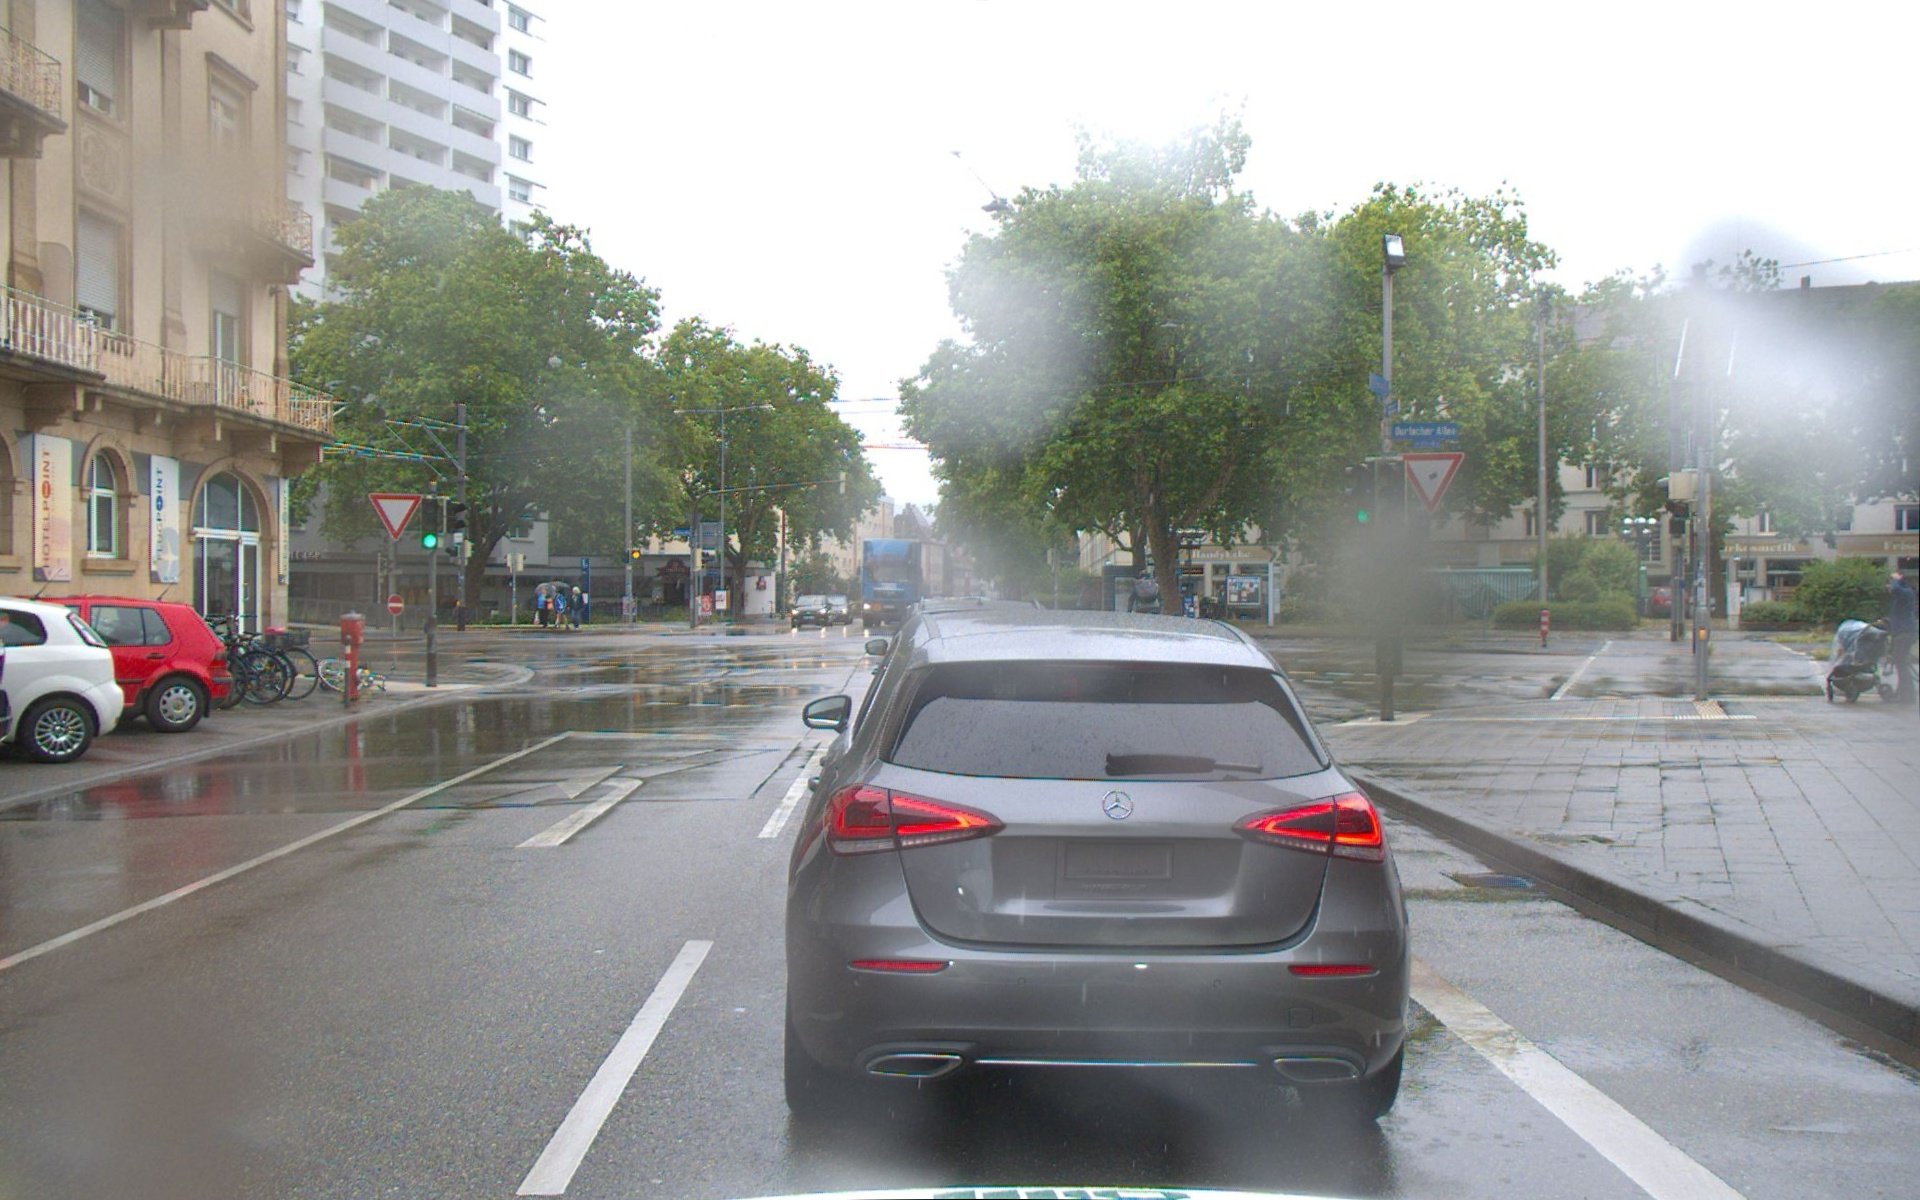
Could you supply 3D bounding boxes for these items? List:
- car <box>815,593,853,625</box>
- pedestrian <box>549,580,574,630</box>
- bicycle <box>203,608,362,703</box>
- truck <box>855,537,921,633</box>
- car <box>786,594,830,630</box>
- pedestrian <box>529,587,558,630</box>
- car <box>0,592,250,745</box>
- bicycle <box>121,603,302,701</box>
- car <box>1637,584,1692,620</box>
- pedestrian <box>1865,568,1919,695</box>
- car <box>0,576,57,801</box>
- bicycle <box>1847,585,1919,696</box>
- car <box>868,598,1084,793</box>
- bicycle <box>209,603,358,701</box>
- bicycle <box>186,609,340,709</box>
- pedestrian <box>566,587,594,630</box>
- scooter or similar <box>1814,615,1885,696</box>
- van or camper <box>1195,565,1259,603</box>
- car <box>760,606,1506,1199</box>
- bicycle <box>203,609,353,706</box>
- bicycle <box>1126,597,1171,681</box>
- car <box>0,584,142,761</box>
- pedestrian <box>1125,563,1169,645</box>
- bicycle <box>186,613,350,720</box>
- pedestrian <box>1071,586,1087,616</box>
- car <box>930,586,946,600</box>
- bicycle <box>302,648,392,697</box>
[{"bbox_3d":[-6.523,0.455,86.096,1.691,1.573,4.339,-1,0,-1],"label":"car"},{"bbox_3d":[-15.255,0.193,63.248,0.674,1.870,0.630,-1,0,-43],"label":"pedestrian"},{"bbox_3d":[-9.436,0.771,23.070,1.941,1.205,0.474,3,0,-4],"label":"bicycle"},{"bbox_3d":[-3.222,-0.682,76.646,2.788,4.095,10.313,-1,0,-1],"label":"truck"},{"bbox_3d":[-6.927,0.532,75.558,1.708,1.573,3.778,-1,0,-1],"label":"car"},{"bbox_3d":[-16.492,0.351,65.506,0.774,1.677,0.817,-1,0,14],"label":"pedestrian"},{"bbox_3d":[-9.999,0.708,17.864,3.962,1.534,1.778,-1,0,-40],"label":"car"},{"bbox_3d":[-10.887,0.750,24.102,2.295,1.369,0.639,-1,0,-6],"label":"bicycle"},{"bbox_3d":[31.311,0.086,73.582,1.627,1.548,3.682,-1,0,14],"label":"car"},{"bbox_3d":[12.743,0.413,22.415,0.590,1.692,0.689,-1,0,2],"label":"pedestrian"},{"bbox_3d":[-9.222,0.645,12.377,4.048,1.721,1.738,1,0,-41],"label":"car"},{"bbox_3d":[13.086,0.540,22.677,0.522,1.492,1.935,-1,0,-10],"label":"bicycle"},{"bbox_3d":[0.093,0.704,14.234,1.574,1.396,3.999,-1,0,-1],"label":"car"},{"bbox_3d":[-9.656,0.737,23.628,1.935,1.353,0.438,-1,0,1],"label":"bicycle"},{"bbox_3d":[-9.276,0.780,22.042,1.774,1.205,0.475,3,0,-3],"label":"bicycle"},{"bbox_3d":[-15.126,0.330,65.826,0.817,1.677,0.756,-1,0,14],"label":"pedestrian"},{"bbox_3d":[12.206,0.746,22.717,0.502,1.067,0.924,-1,0,2],"label":"scooter or similar"},{"bbox_3d":[16.475,-0.955,101.909,2.349,2.270,5.424,-1,0,27],"label":"van or camper"},{"bbox_3d":[0.390,0.746,5.676,1.755,1.396,3.506,1,0,-1],"label":"car"},{"bbox_3d":[-9.294,0.782,22.562,1.774,1.205,0.468,3,0,-3],"label":"bicycle"},{"bbox_3d":[3.329,0.664,29.354,0.733,1.401,2.709,-1,0,6],"label":"bicycle"},{"bbox_3d":[-9.694,0.623,14.819,3.957,1.560,1.679,1,0,-41],"label":"car"},{"bbox_3d":[3.319,0.068,29.398,0.728,1.422,1.048,-1,0,6],"label":"pedestrian"},{"bbox_3d":[-8.759,0.830,20.967,1.772,1.205,0.601,4,0,4],"label":"bicycle"},{"bbox_3d":[6.891,0.072,95.617,0.704,1.698,0.663,-1,-1,36],"label":"pedestrian"},{"bbox_3d":[-2.891,-0.917,218.893,1.850,1.868,4.001,-1,0,3],"label":"car"},{"bbox_3d":[-9.361,1.101,25.233,1.029,0.675,1.462,2,-1,-31],"label":"bicycle"}]
